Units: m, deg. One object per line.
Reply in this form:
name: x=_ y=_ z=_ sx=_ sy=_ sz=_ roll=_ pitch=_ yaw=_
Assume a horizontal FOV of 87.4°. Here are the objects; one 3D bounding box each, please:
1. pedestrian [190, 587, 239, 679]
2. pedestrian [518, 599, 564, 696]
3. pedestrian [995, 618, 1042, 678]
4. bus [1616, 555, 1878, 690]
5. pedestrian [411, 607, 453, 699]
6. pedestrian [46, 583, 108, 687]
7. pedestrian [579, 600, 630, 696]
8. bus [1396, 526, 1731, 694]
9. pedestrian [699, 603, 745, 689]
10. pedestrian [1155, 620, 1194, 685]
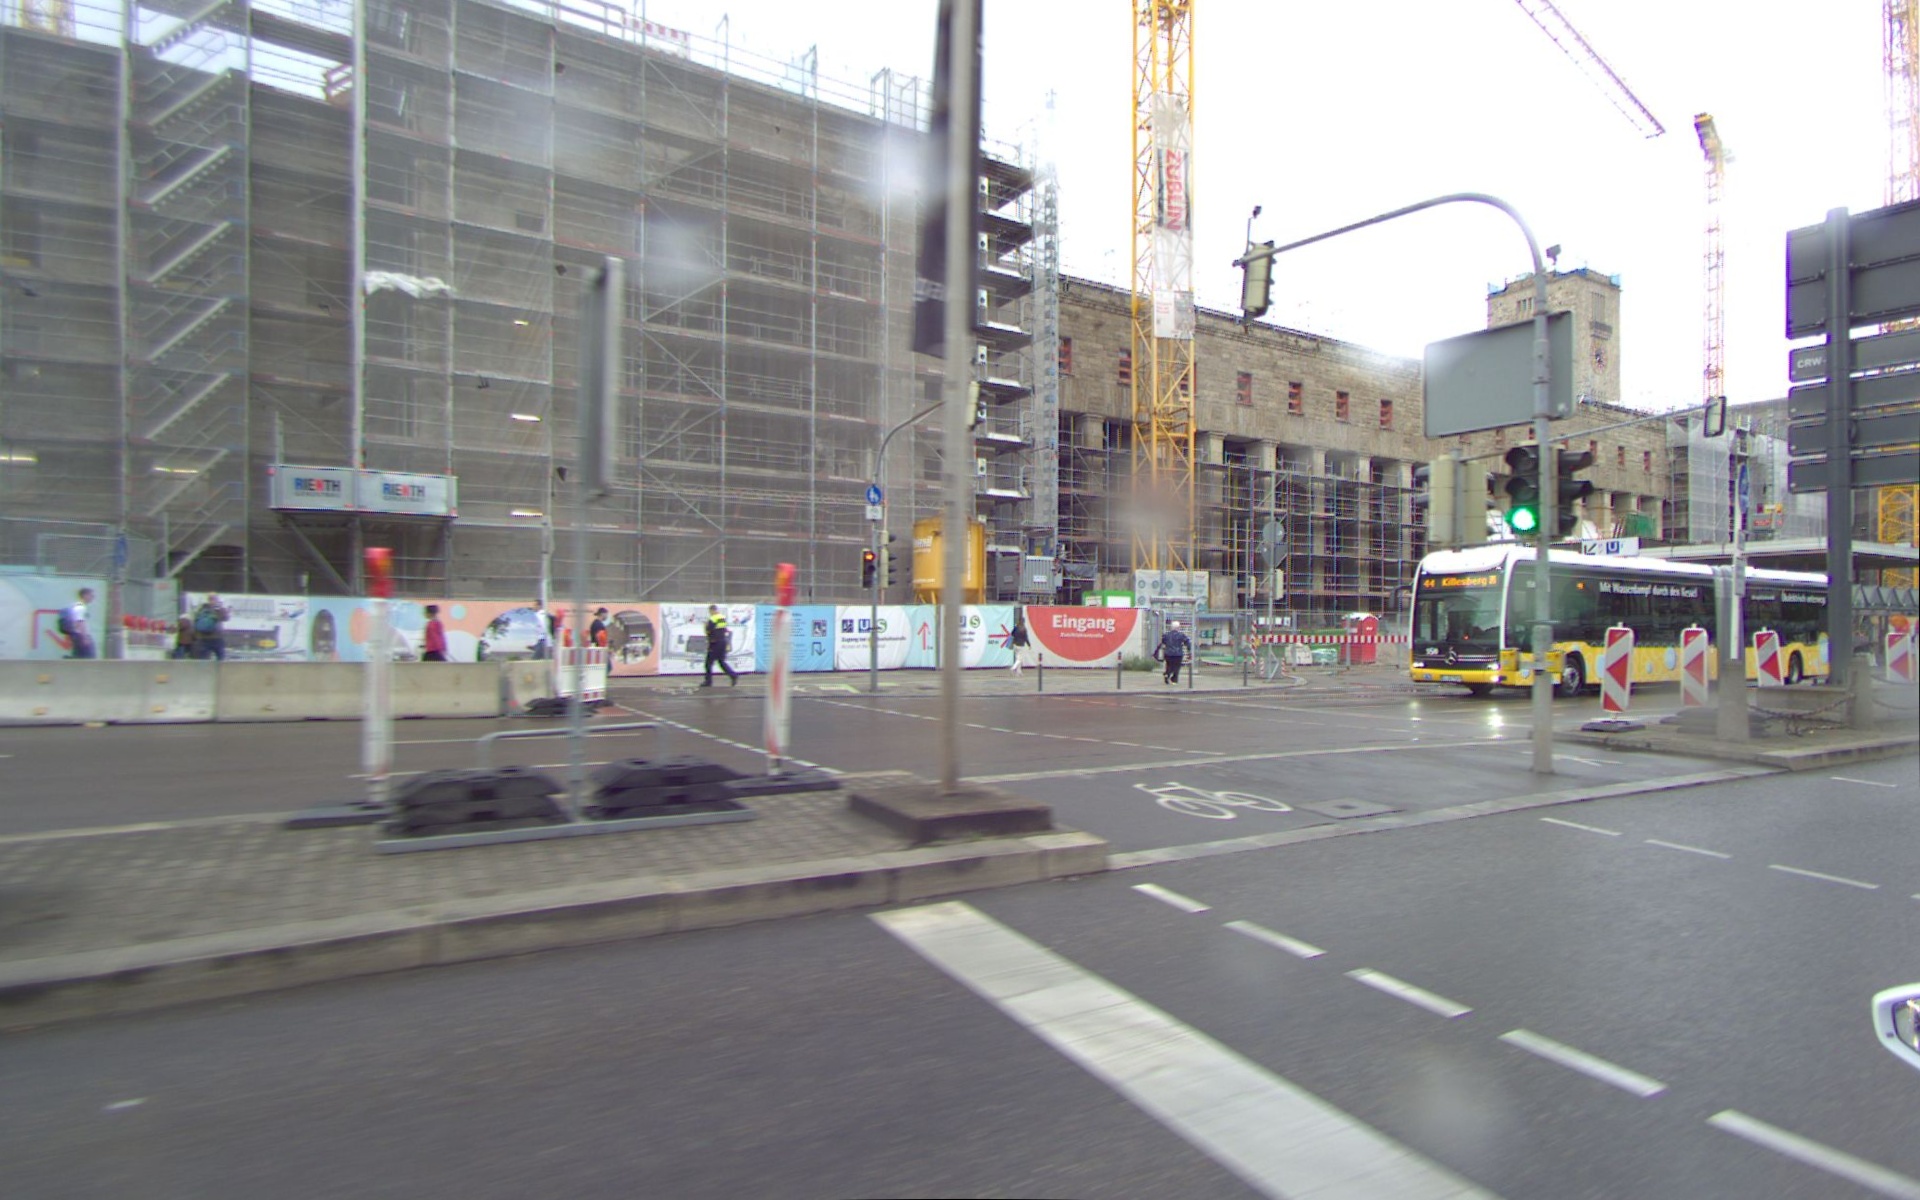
pedestrian: x=-15.434 y=0.684 z=20.809 sx=0.709 sy=1.860 sz=0.478 roll=2 pitch=0 yaw=-30
pedestrian: x=-8.555 y=0.964 z=20.489 sx=0.614 sy=1.915 sz=0.793 roll=2 pitch=0 yaw=-38
pedestrian: x=1.630 y=1.335 z=28.038 sx=0.890 sy=1.584 sz=0.909 roll=2 pitch=0 yaw=-33
bus: x=24.218 y=0.775 z=30.669 sx=10.091 sy=3.649 sz=2.656 roll=3 pitch=0 yaw=-30
pedestrian: x=-10.253 y=1.025 z=19.511 sx=0.613 sy=1.740 sz=0.794 roll=2 pitch=-2 yaw=-33
pedestrian: x=-16.146 y=0.641 z=18.385 sx=0.709 sy=1.860 sz=0.478 roll=2 pitch=0 yaw=-30
pedestrian: x=-7.060 y=0.941 z=19.943 sx=0.810 sy=1.860 sz=0.576 roll=2 pitch=0 yaw=-30
bus: x=15.540 y=0.388 z=25.481 sx=10.119 sy=3.649 sz=2.656 roll=3 pitch=0 yaw=-30
pedestrian: x=-5.298 y=1.027 z=22.326 sx=0.810 sy=1.860 sz=0.576 roll=2 pitch=0 yaw=-30
pedestrian: x=5.463 y=1.327 z=25.593 sx=0.772 sy=1.581 sz=0.875 roll=2 pitch=0 yaw=22
